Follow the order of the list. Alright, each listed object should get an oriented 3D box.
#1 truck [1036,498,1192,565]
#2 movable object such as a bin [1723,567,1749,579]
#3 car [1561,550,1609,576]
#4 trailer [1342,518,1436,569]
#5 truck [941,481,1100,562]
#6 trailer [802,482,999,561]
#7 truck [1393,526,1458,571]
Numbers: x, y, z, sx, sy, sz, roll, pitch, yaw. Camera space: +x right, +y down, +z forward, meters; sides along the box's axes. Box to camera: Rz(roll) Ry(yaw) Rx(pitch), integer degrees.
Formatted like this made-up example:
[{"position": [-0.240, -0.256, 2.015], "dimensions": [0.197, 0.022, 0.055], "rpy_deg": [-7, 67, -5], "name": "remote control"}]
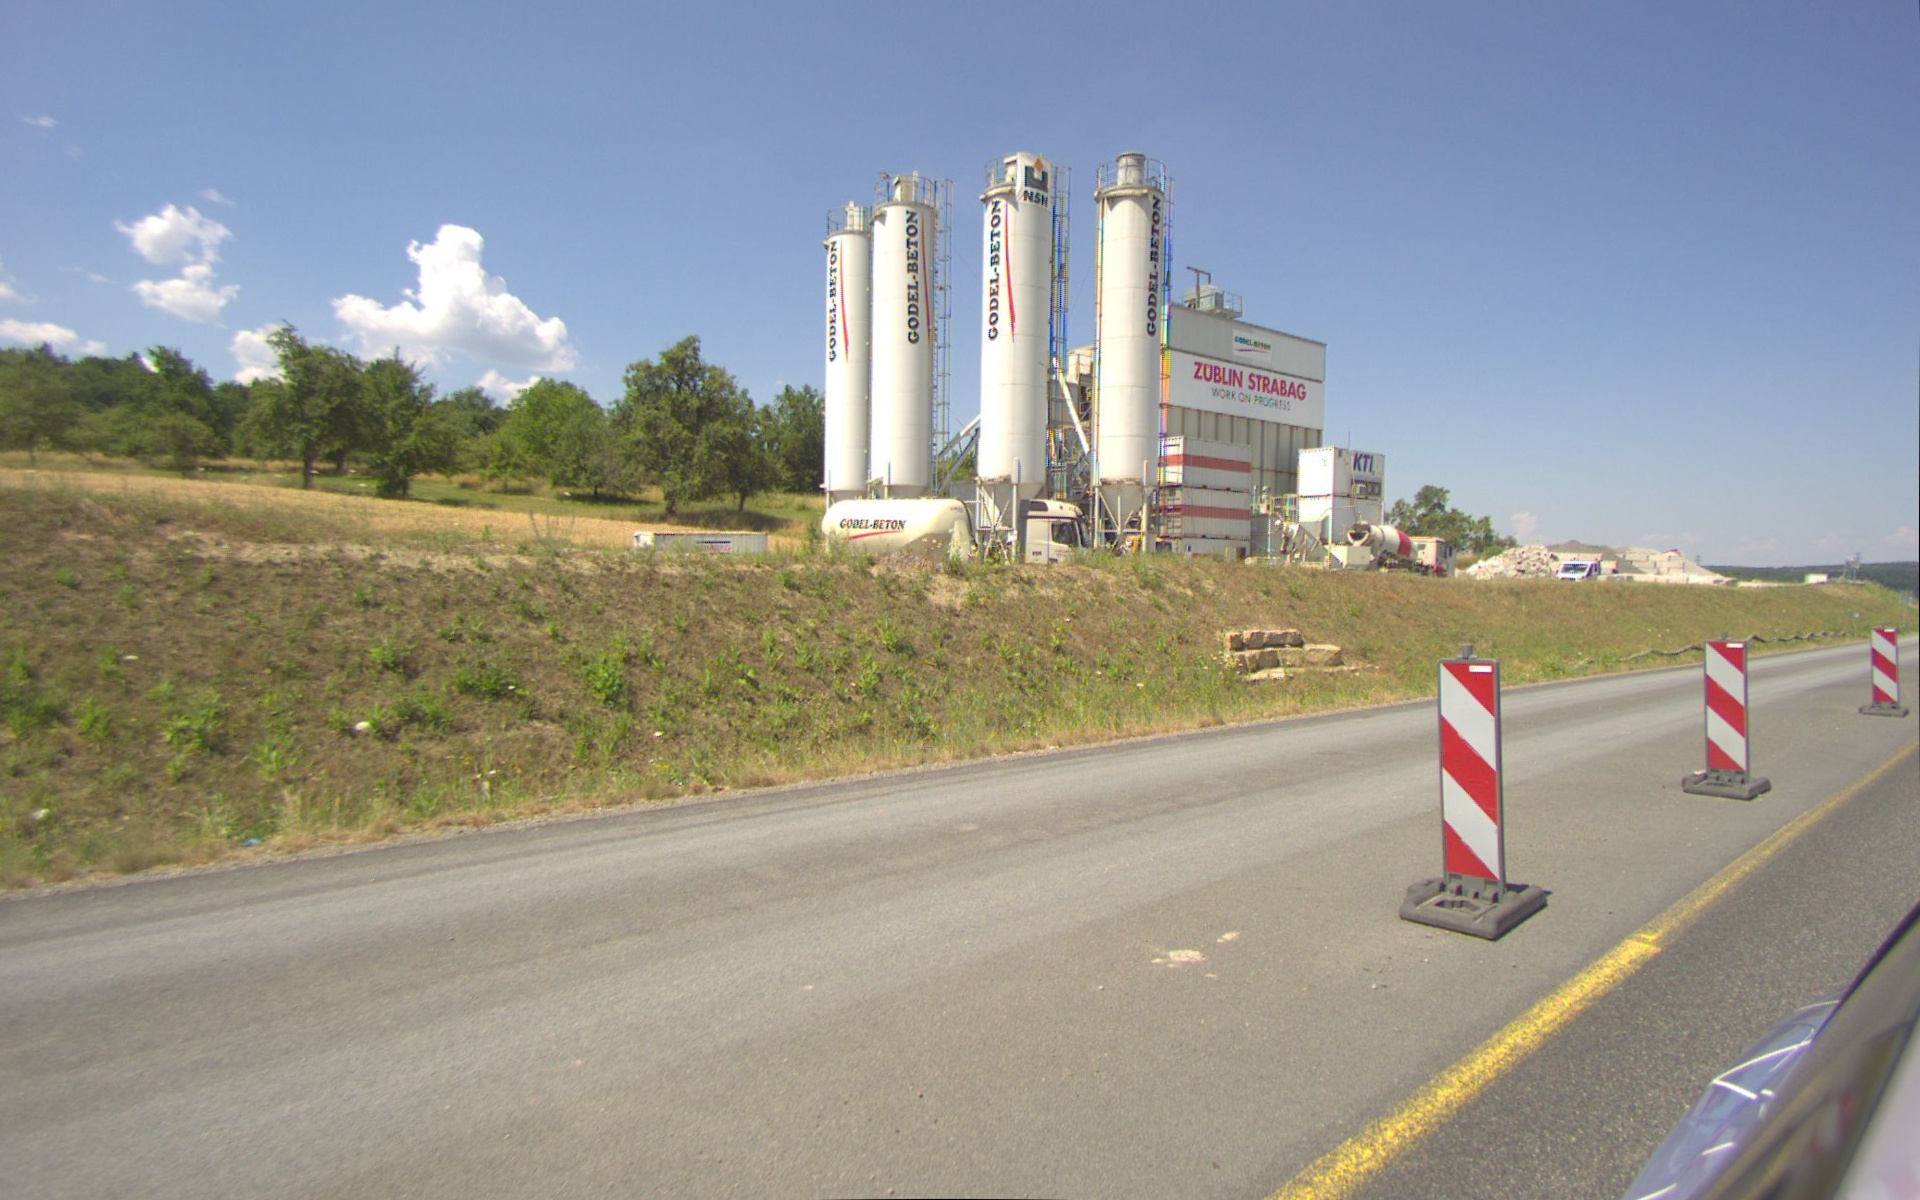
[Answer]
[{"position": [7.706, -3.382, 52.253], "dimensions": [2.412, 2.904, 9.103], "rpy_deg": [0, 0, -34], "name": "truck"}, {"position": [48.266, -1.664, 62.949], "dimensions": [2.210, 0.690, 0.837], "rpy_deg": [0, 0, -41], "name": "movable object such as a bin"}, {"position": [44.981, -2.635, 72.795], "dimensions": [3.539, 1.785, 1.989], "rpy_deg": [0, 0, -41], "name": "car"}, {"position": [25.024, -3.226, 58.868], "dimensions": [6.809, 2.678, 1.999], "rpy_deg": [0, 0, -38], "name": "trailer"}, {"position": [2.207, -2.704, 35.851], "dimensions": [5.228, 2.576, 2.893], "rpy_deg": [0, 0, 13], "name": "truck"}, {"position": [-2.511, -2.856, 38.944], "dimensions": [2.423, 2.639, 8.903], "rpy_deg": [0, 1, -43], "name": "trailer"}, {"position": [28.215, -3.095, 61.326], "dimensions": [3.966, 2.577, 2.022], "rpy_deg": [0, 0, -38], "name": "truck"}]
